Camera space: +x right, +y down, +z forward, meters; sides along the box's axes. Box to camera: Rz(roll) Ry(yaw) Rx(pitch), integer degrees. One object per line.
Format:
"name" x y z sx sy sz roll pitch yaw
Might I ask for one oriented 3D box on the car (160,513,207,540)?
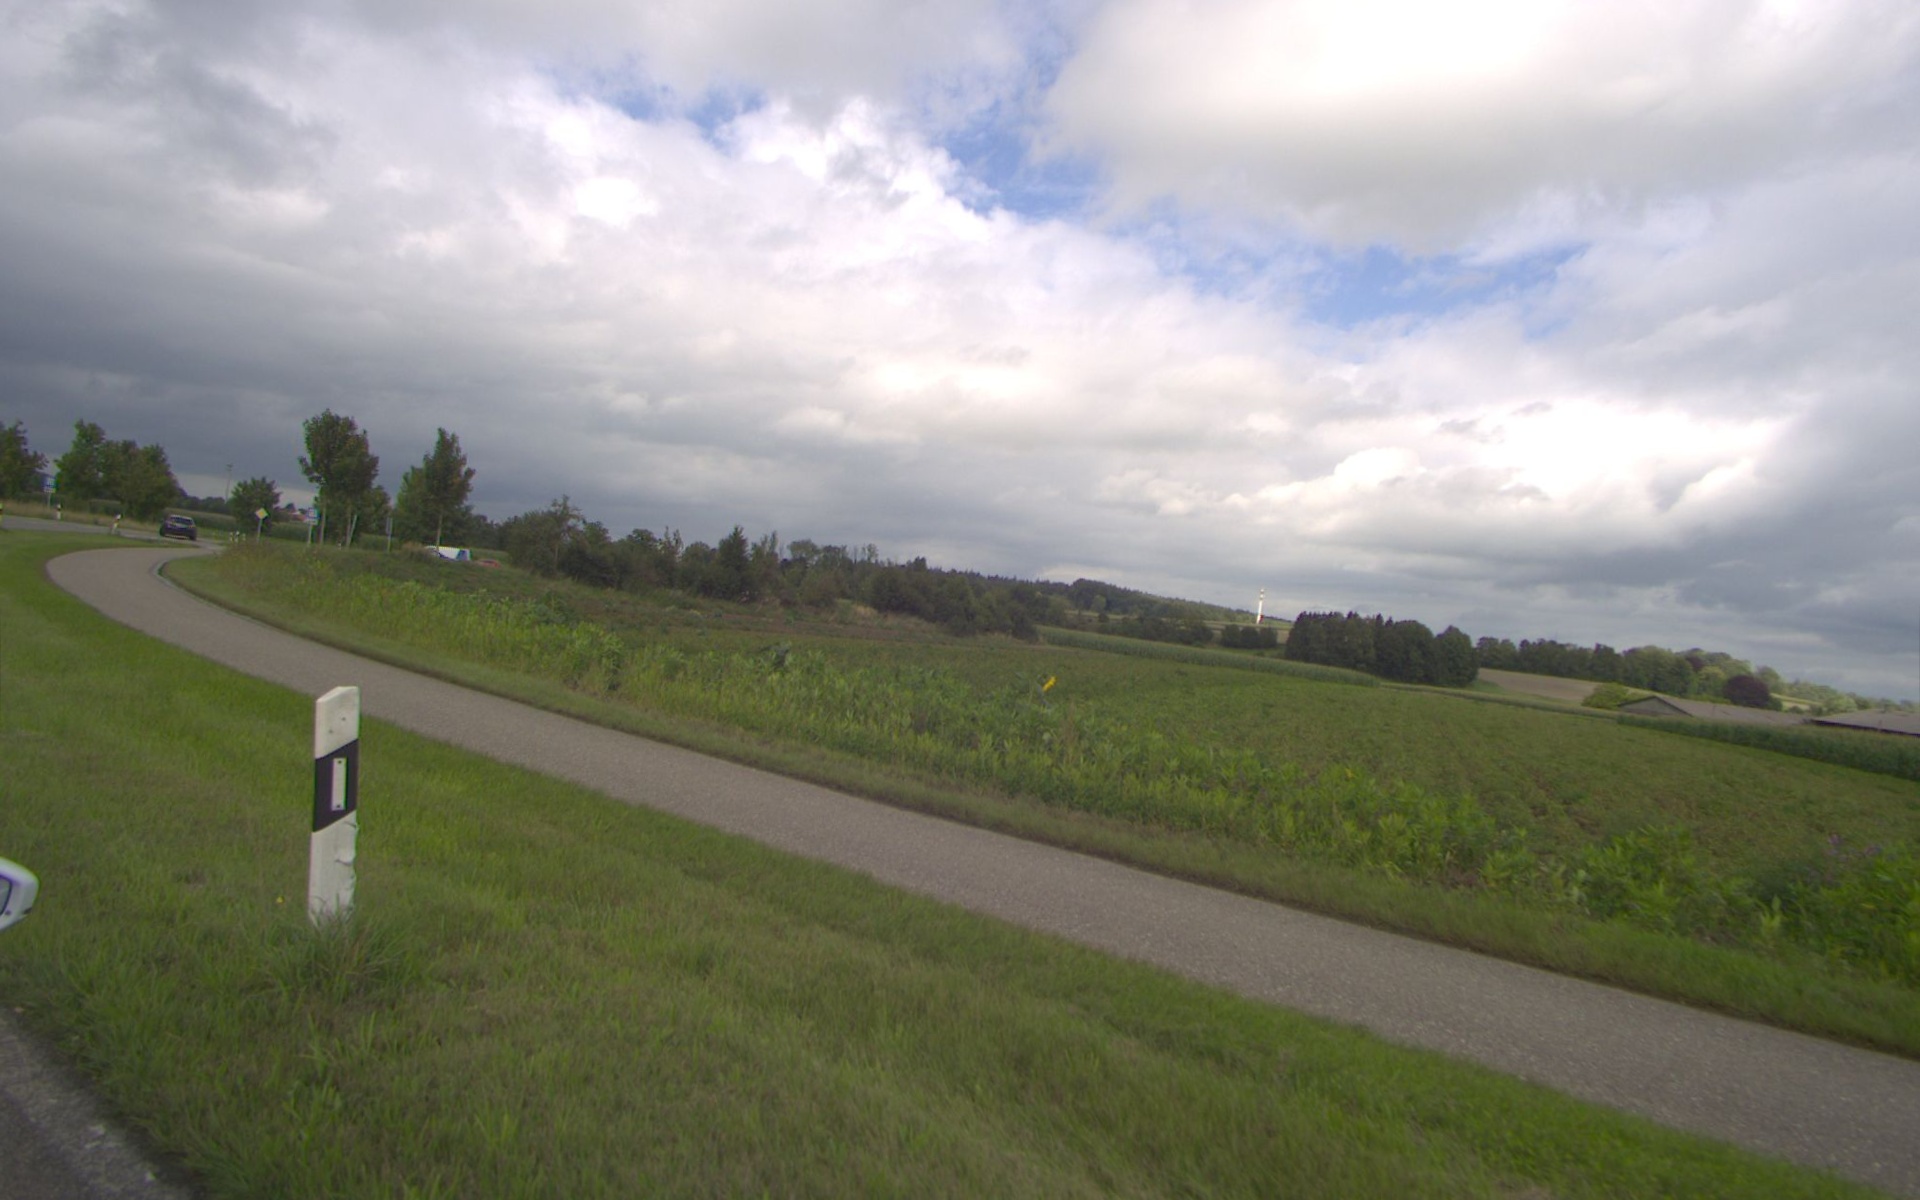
"car" -51.094 -4.830 66.249 1.828 1.434 3.968 8 -1 -31

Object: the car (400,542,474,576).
"car" -42.047 -3.277 80.938 4.895 1.997 1.946 8 -1 -21

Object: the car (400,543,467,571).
"car" -39.802 -3.209 76.175 4.226 1.585 1.829 6 0 -21
